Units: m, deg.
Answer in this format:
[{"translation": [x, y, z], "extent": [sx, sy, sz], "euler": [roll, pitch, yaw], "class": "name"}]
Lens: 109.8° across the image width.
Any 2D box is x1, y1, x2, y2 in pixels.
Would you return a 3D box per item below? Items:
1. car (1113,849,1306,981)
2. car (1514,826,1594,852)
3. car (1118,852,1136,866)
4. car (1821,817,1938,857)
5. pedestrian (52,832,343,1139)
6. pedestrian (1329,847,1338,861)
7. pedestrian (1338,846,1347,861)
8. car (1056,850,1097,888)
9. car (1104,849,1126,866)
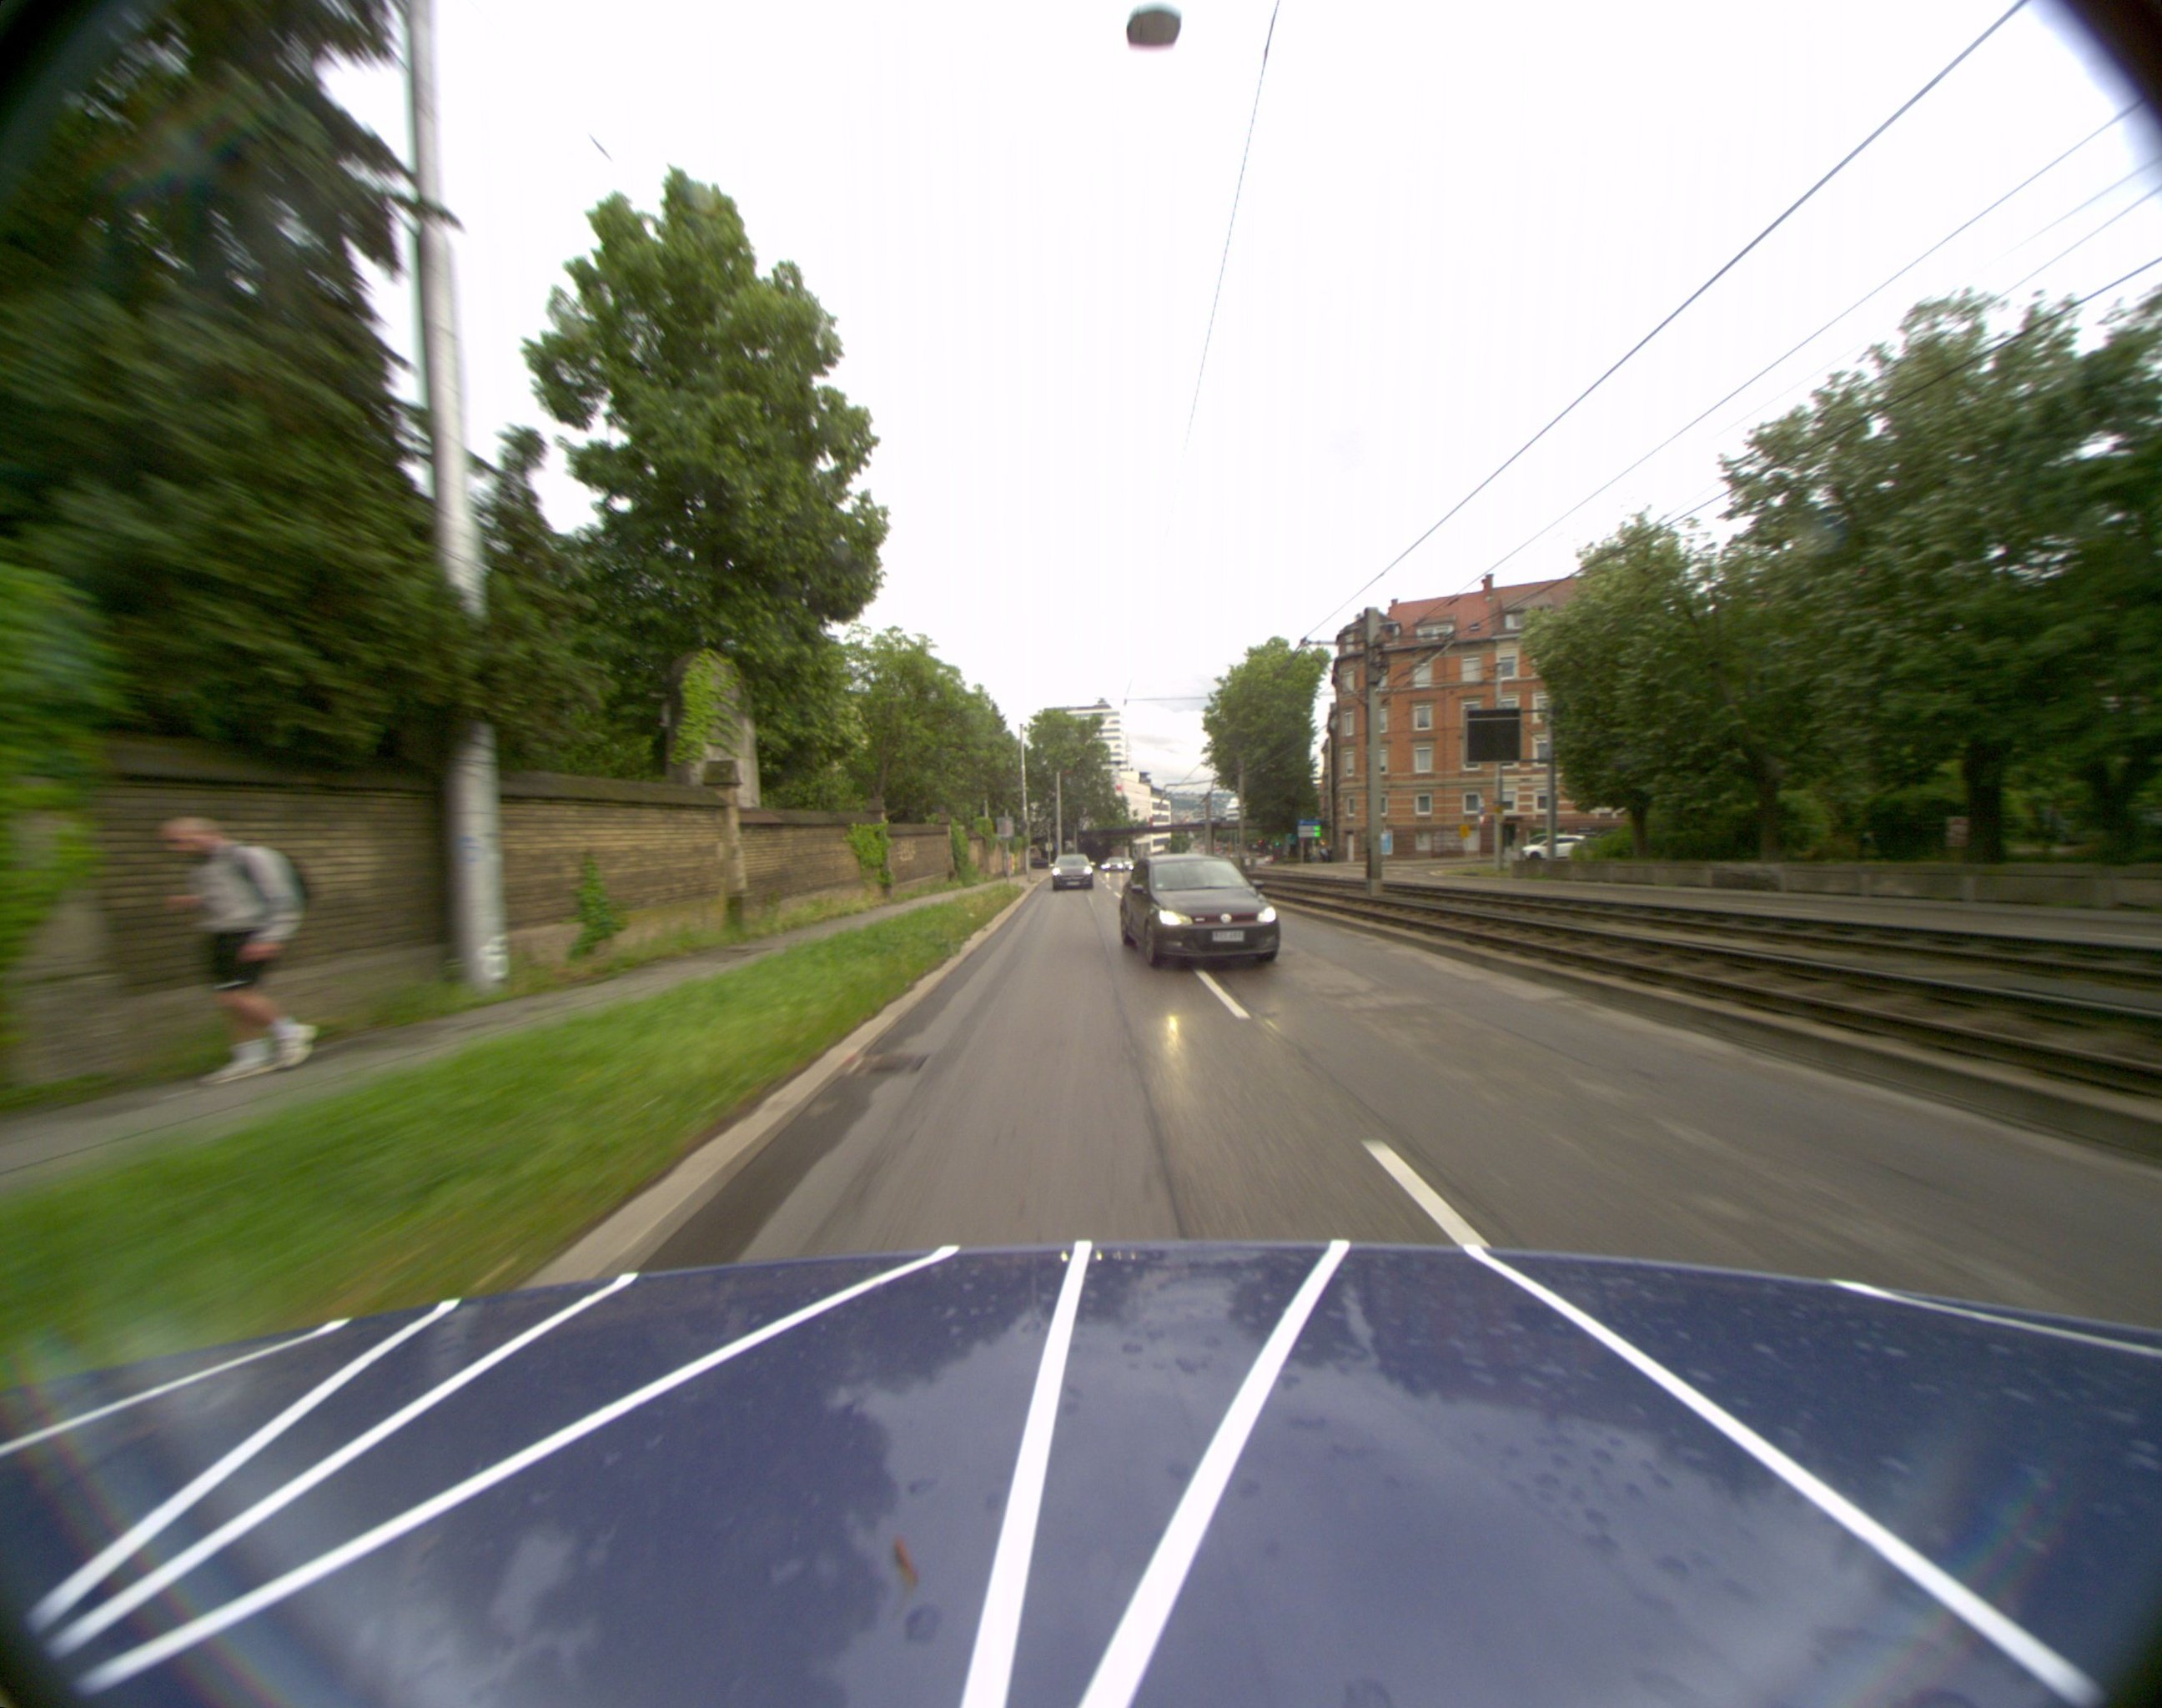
[{"translation": [1.611, 0.704, 10.945], "extent": [1.799, 1.477, 3.963], "euler": [-2, 1, -4], "class": "car"}, {"translation": [32.628, -1.013, 52.531], "extent": [4.428, 1.588, 1.844], "euler": [-2, 1, 22], "class": "car"}, {"translation": [5.111, 0.568, 84.000], "extent": [1.735, 1.368, 4.001], "euler": [-3, 1, 6], "class": "car"}, {"translation": [35.835, -0.775, 34.248], "extent": [1.996, 1.612, 4.005], "euler": [-3, 1, 19], "class": "car"}, {"translation": [-5.582, 0.765, 4.876], "extent": [0.710, 1.769, 0.901], "euler": [-2, 1, 0], "class": "pedestrian"}, {"translation": [23.381, -0.003, 70.418], "extent": [0.620, 1.346, 0.538], "euler": [-3, 1, 0], "class": "pedestrian"}, {"translation": [24.118, -0.055, 70.121], "extent": [0.620, 1.346, 0.538], "euler": [0, 1, 0], "class": "pedestrian"}, {"translation": [-0.183, 0.609, 32.873], "extent": [1.658, 1.483, 3.829], "euler": [-1, 1, 0], "class": "car"}, {"translation": [3.129, 0.322, 69.517], "extent": [1.640, 1.368, 3.575], "euler": [-2, 2, 8], "class": "car"}]
